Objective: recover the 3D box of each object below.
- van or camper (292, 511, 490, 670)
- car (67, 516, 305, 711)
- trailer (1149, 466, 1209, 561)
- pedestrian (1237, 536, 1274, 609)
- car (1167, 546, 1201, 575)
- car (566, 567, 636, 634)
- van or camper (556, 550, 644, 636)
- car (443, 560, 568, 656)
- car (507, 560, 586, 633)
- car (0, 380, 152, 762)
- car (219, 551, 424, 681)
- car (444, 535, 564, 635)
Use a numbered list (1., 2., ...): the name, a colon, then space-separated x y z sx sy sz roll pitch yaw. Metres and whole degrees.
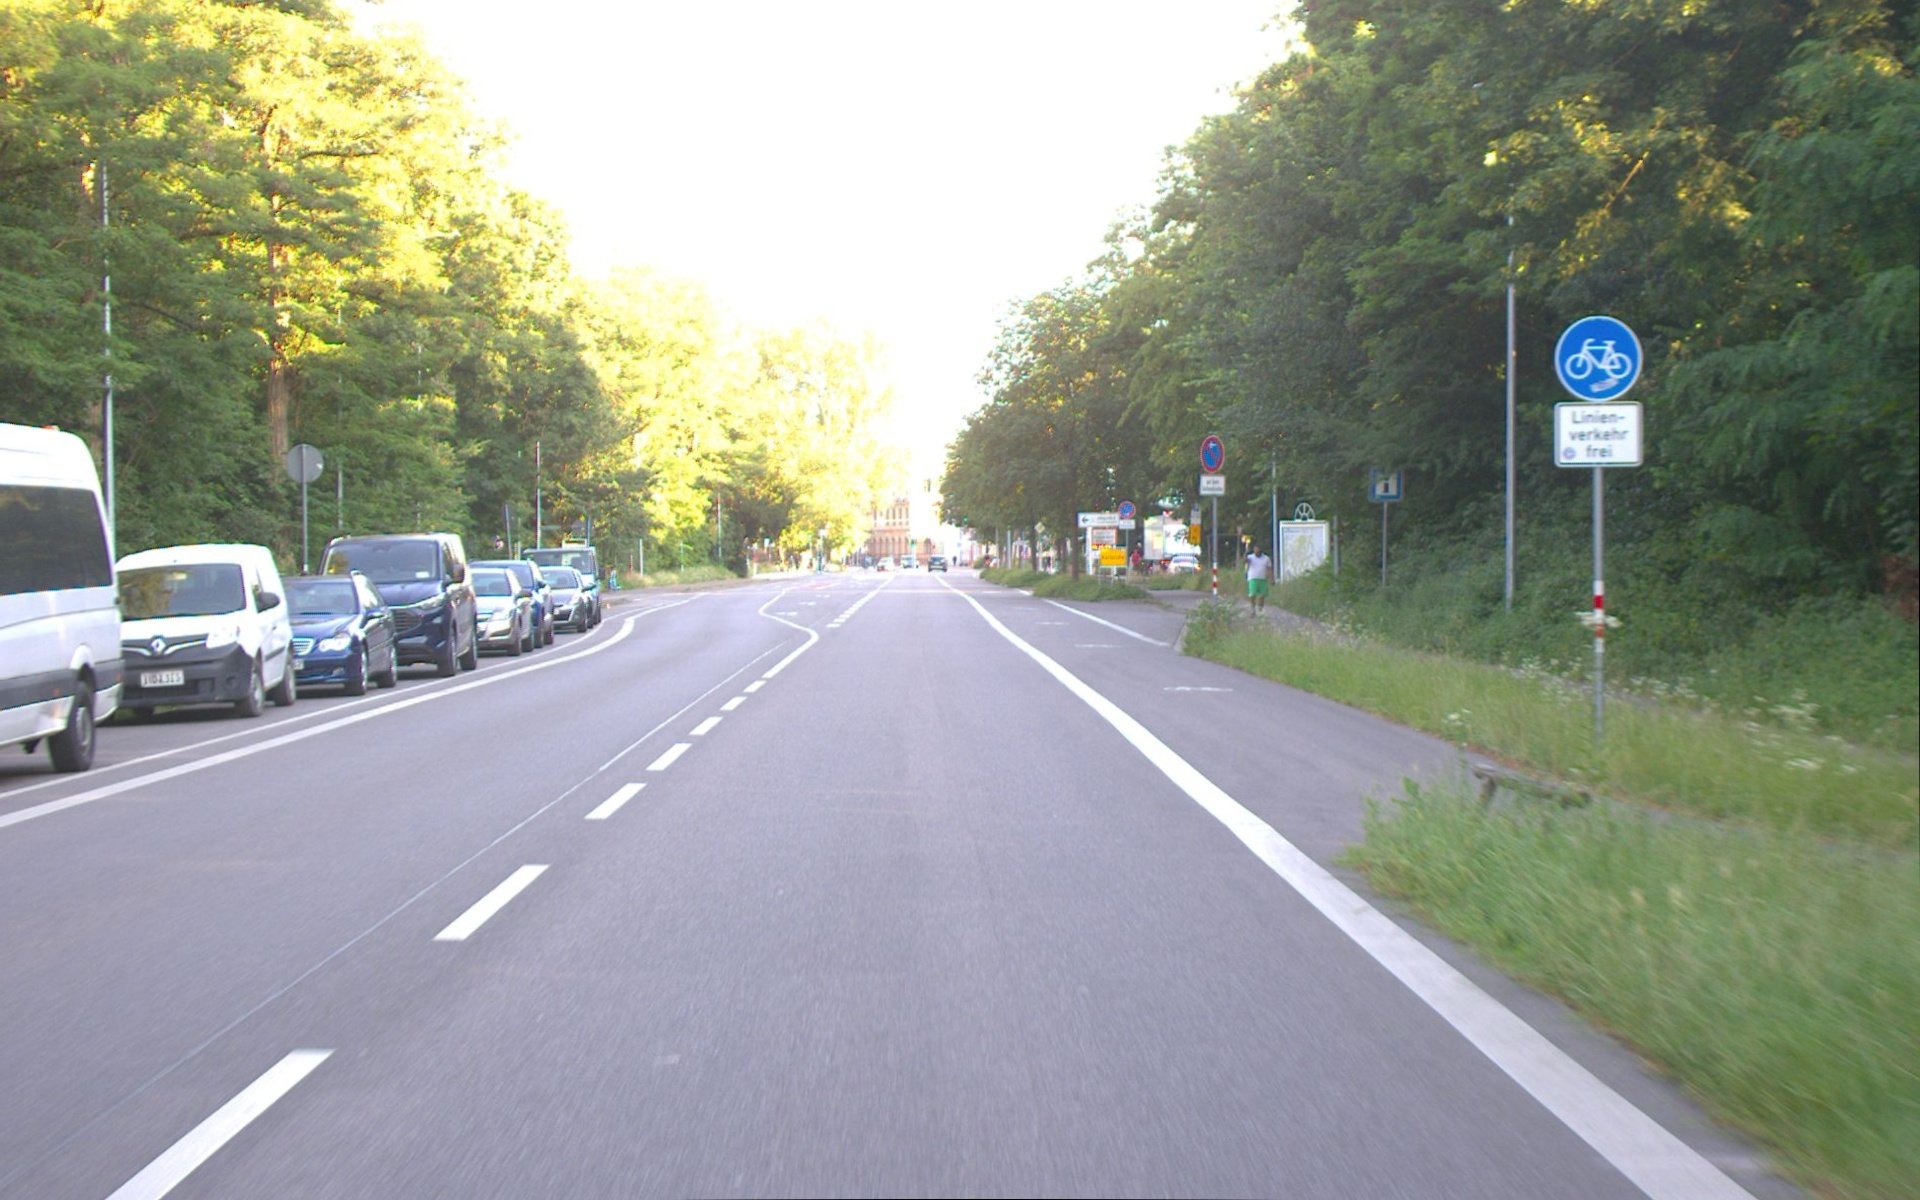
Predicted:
1. van or camper: -7.862 -0.164 47.979 2.002 2.011 5.462 -3 1 -3
2. car: -8.106 0.099 36.347 1.687 1.852 4.388 -3 1 -4
3. trailer: 12.821 -5.024 201.841 3.020 5.443 7.934 0 1 0
4. pedestrian: 7.039 -0.655 81.938 0.838 1.745 0.726 0 0 0
5. car: 12.308 -2.164 189.182 1.770 1.578 4.818 1 0 3
6. car: -8.516 -0.005 81.337 1.542 1.488 3.973 -2 1 -7
7. van or camper: -9.207 -0.207 88.282 2.031 2.087 5.015 -2 1 -4
8. car: -7.625 0.104 57.927 1.668 1.496 4.247 -2 1 -2
9. car: -9.171 -0.093 76.420 1.616 1.529 4.041 -2 1 -6
10. car: -7.570 -0.168 24.172 2.079 2.597 7.089 -3 1 -1
11. car: -7.683 0.147 41.710 1.669 1.428 4.447 -2 1 -1
12. car: -8.355 -0.296 63.358 1.745 1.706 4.523 -2 1 -2
